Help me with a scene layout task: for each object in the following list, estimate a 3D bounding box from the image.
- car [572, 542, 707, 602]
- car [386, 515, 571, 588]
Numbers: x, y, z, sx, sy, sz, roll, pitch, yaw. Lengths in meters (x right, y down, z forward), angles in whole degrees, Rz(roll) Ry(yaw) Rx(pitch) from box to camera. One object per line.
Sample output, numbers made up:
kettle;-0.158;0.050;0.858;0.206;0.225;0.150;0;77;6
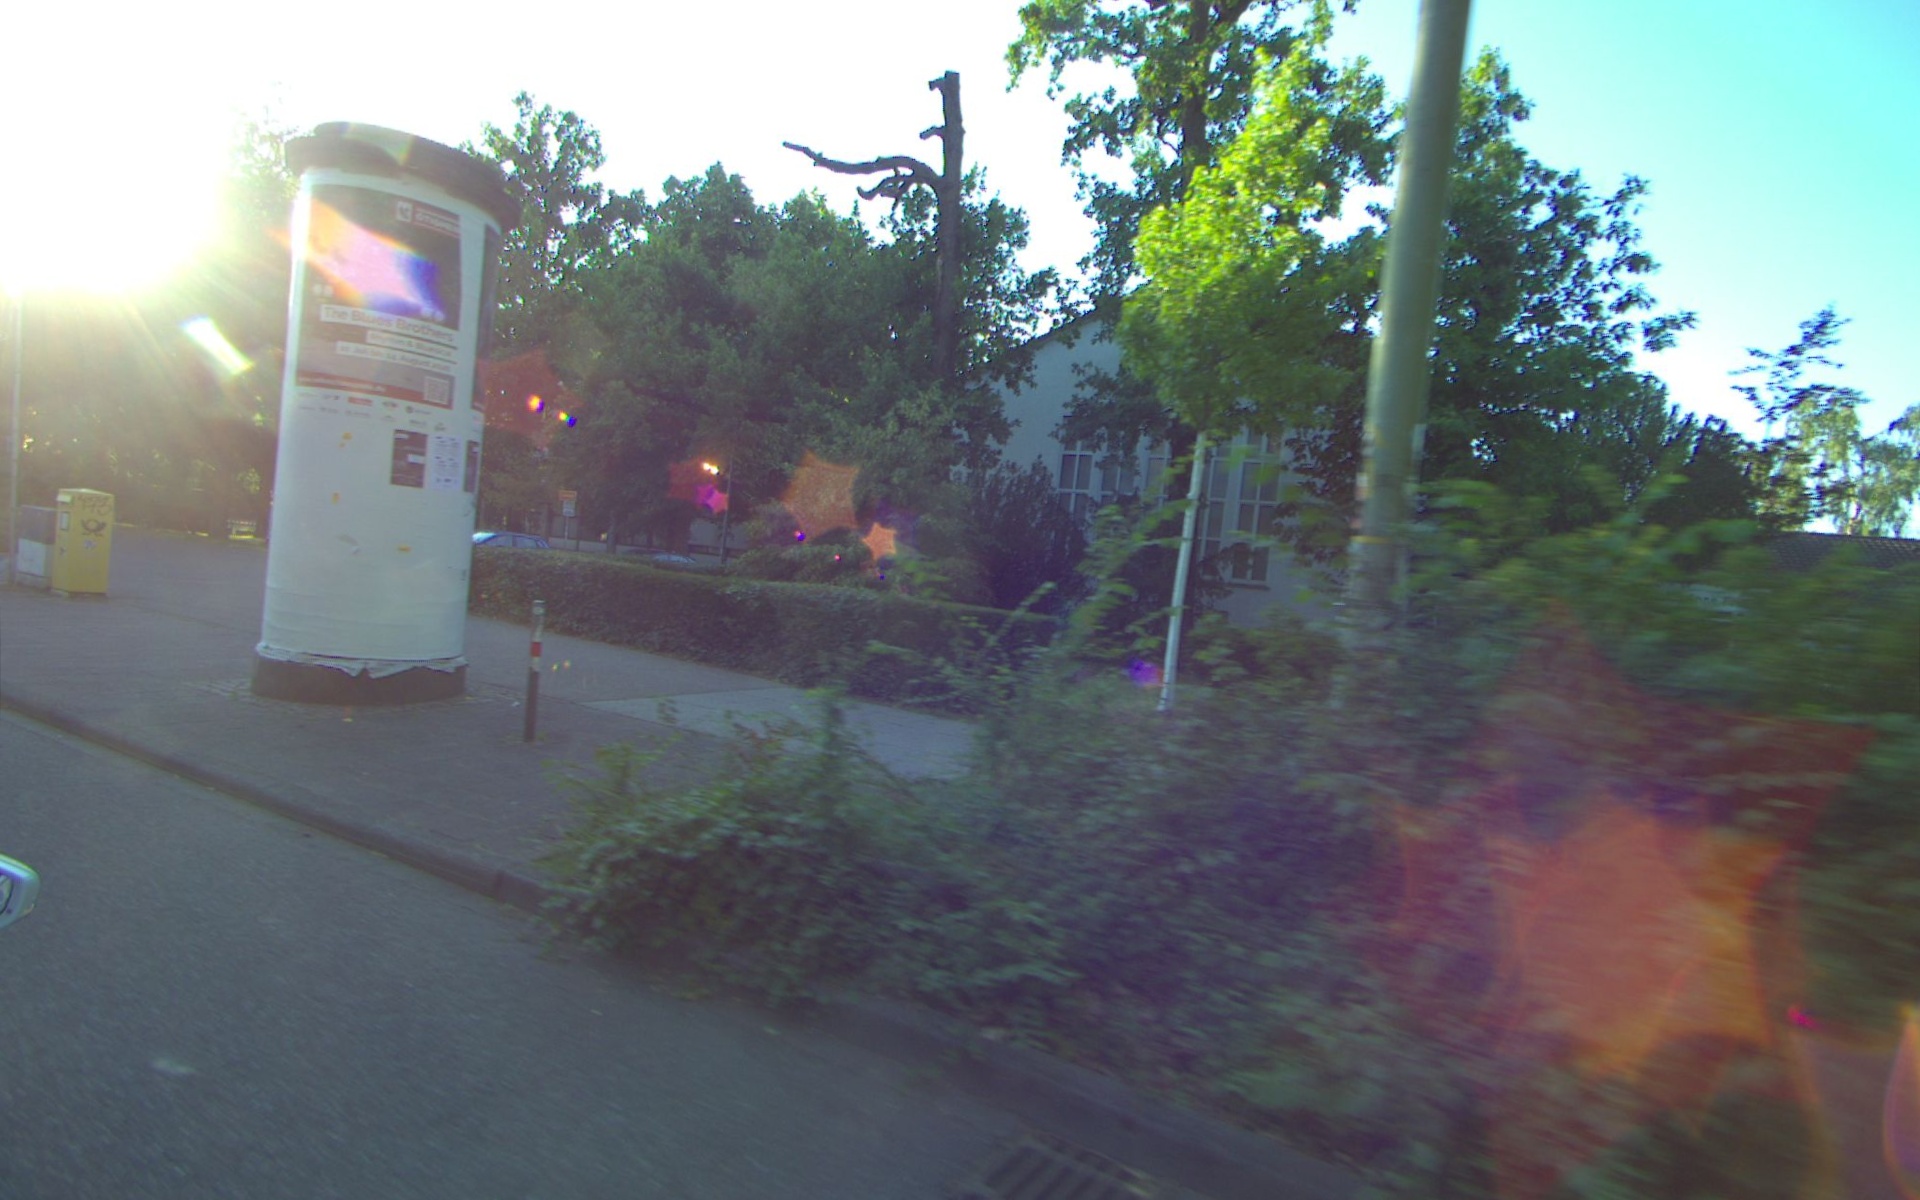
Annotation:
car;-10.199;-0.853;32.276;1.706;1.495;3.993;7;1;27
car;-12.748;-1.241;26.903;1.804;1.460;4.146;7;1;27
